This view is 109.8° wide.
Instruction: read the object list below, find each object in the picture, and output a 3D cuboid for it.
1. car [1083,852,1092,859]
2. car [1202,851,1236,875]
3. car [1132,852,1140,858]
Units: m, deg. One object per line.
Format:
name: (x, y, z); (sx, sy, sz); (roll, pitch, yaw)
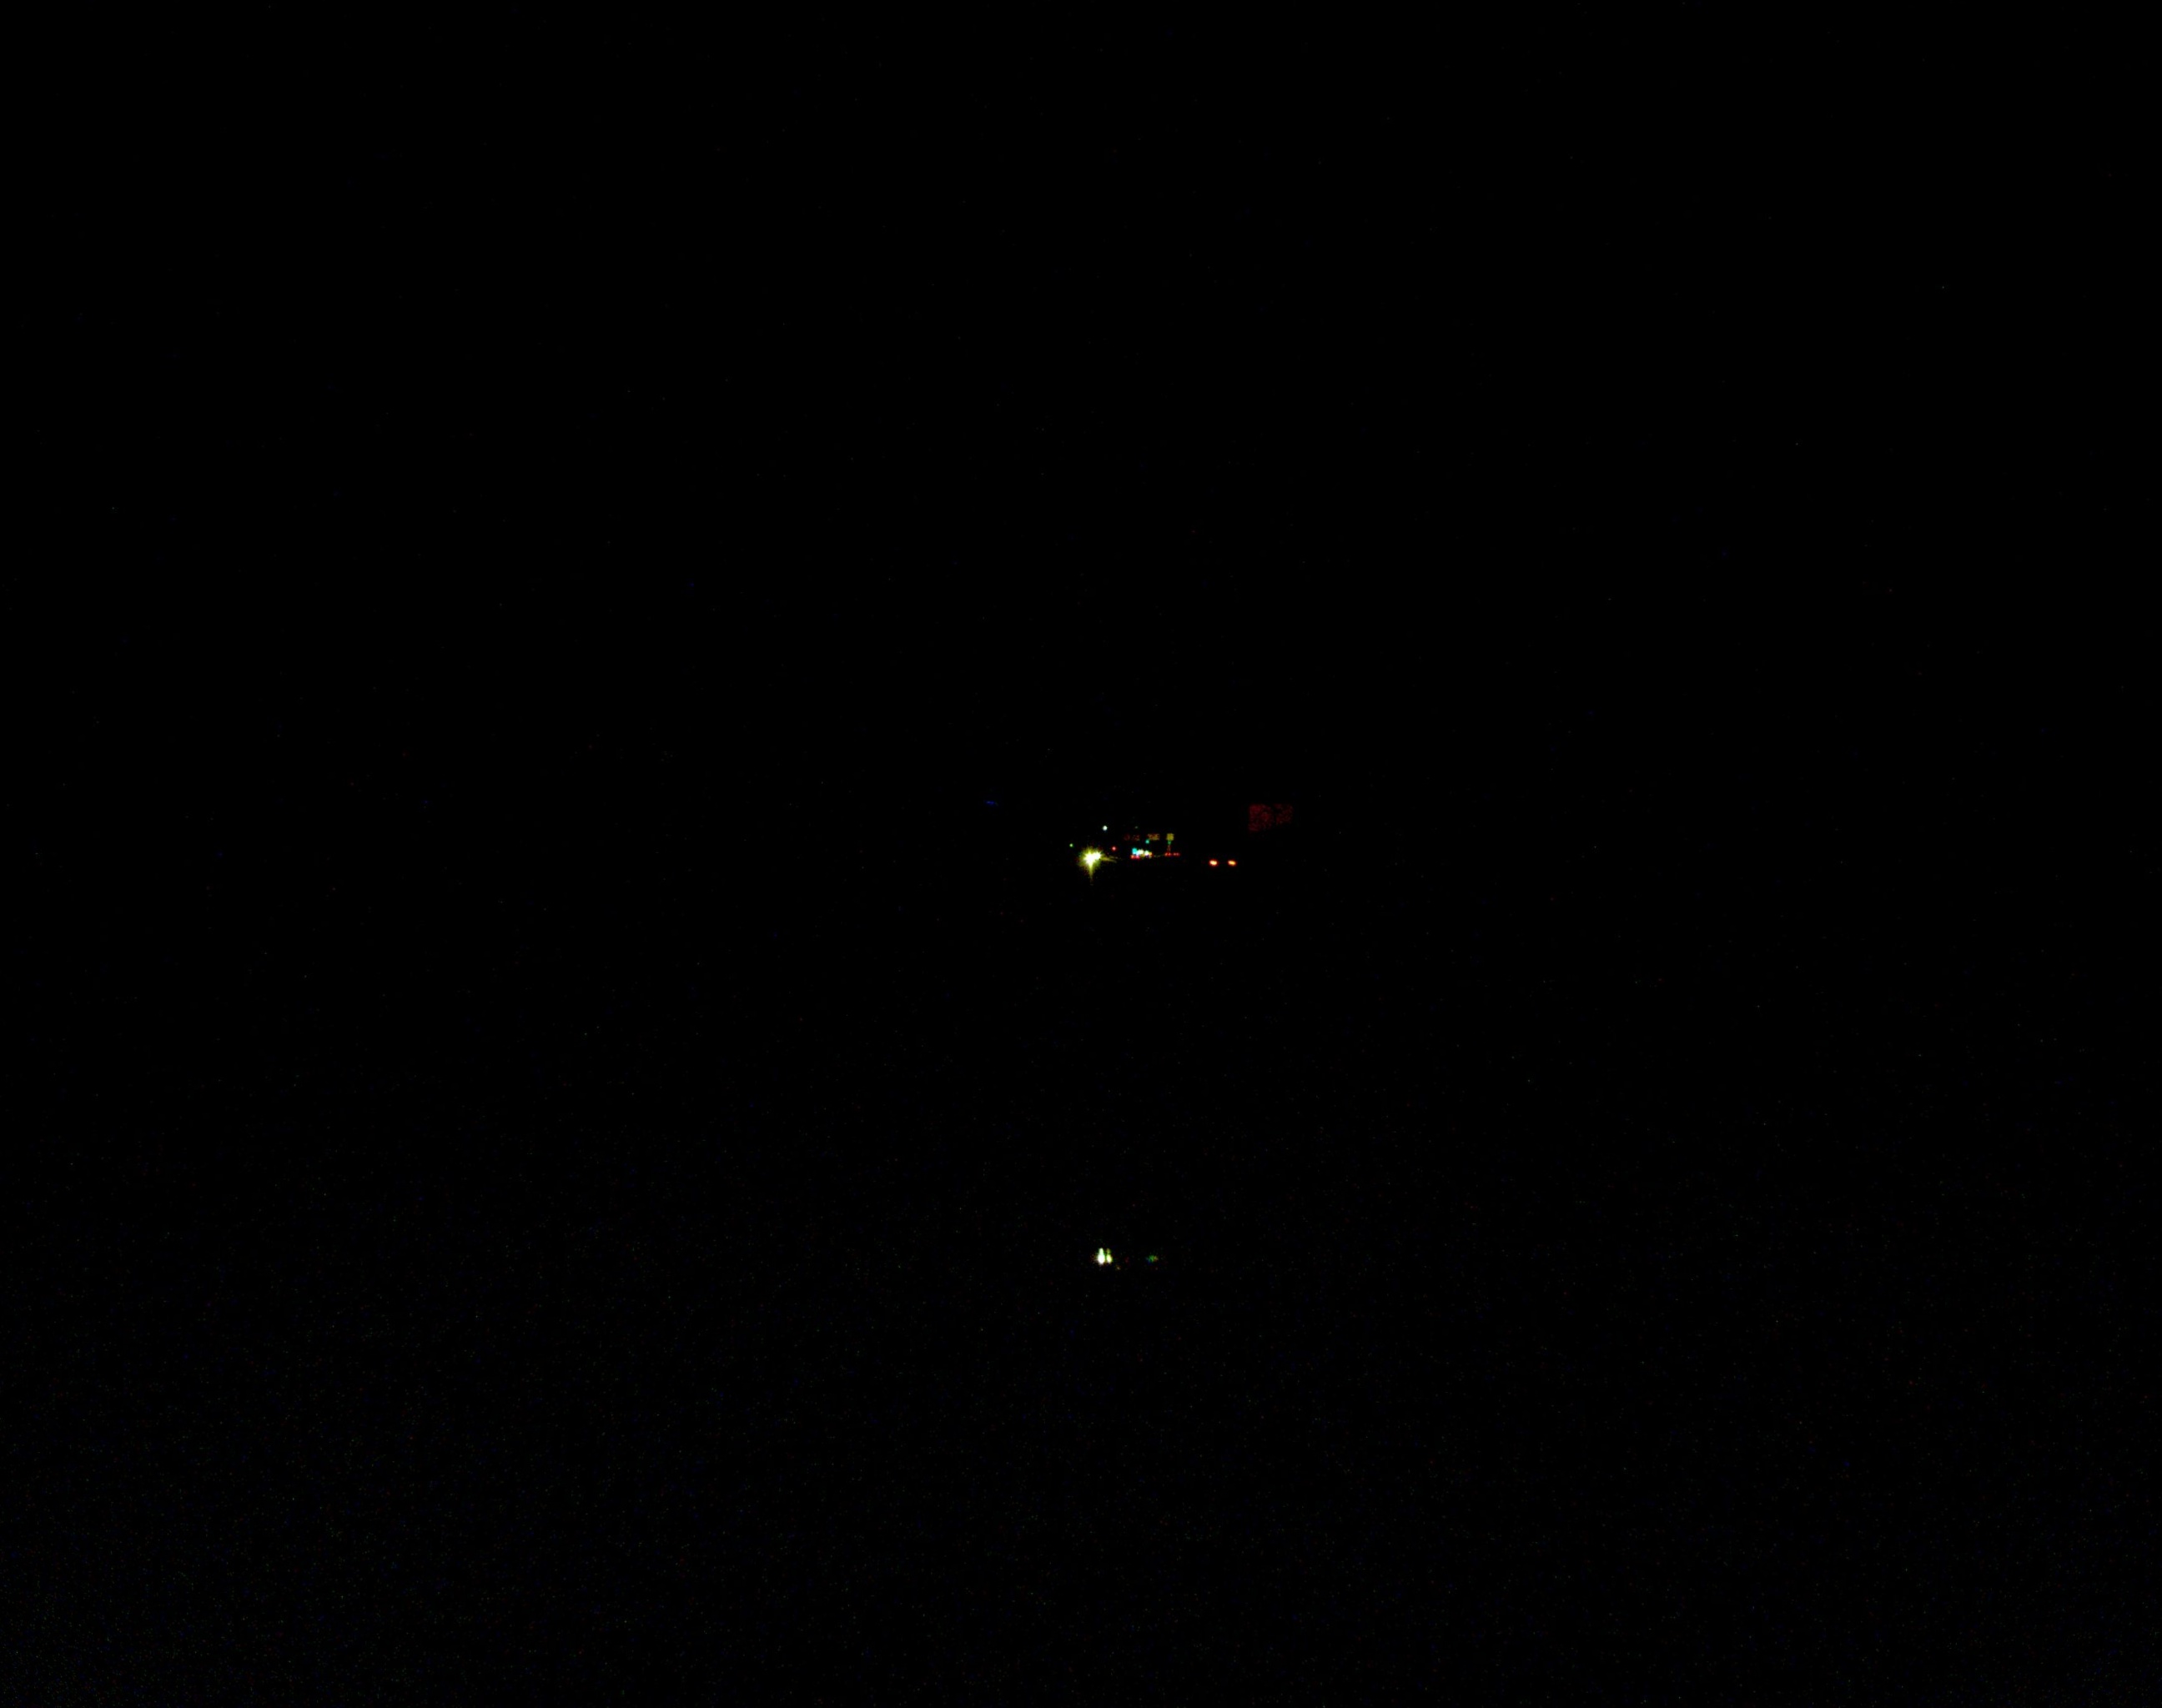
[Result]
car: (1.373, 0.349, 152.510); (1.570, 1.336, 4.167); (-2, 0, 2)
car: (10.065, 0.631, 55.579); (1.687, 1.578, 4.166); (-2, 0, 0)
car: (14.187, 0.305, 197.510); (1.724, 1.399, 4.574); (-2, 1, 1)
